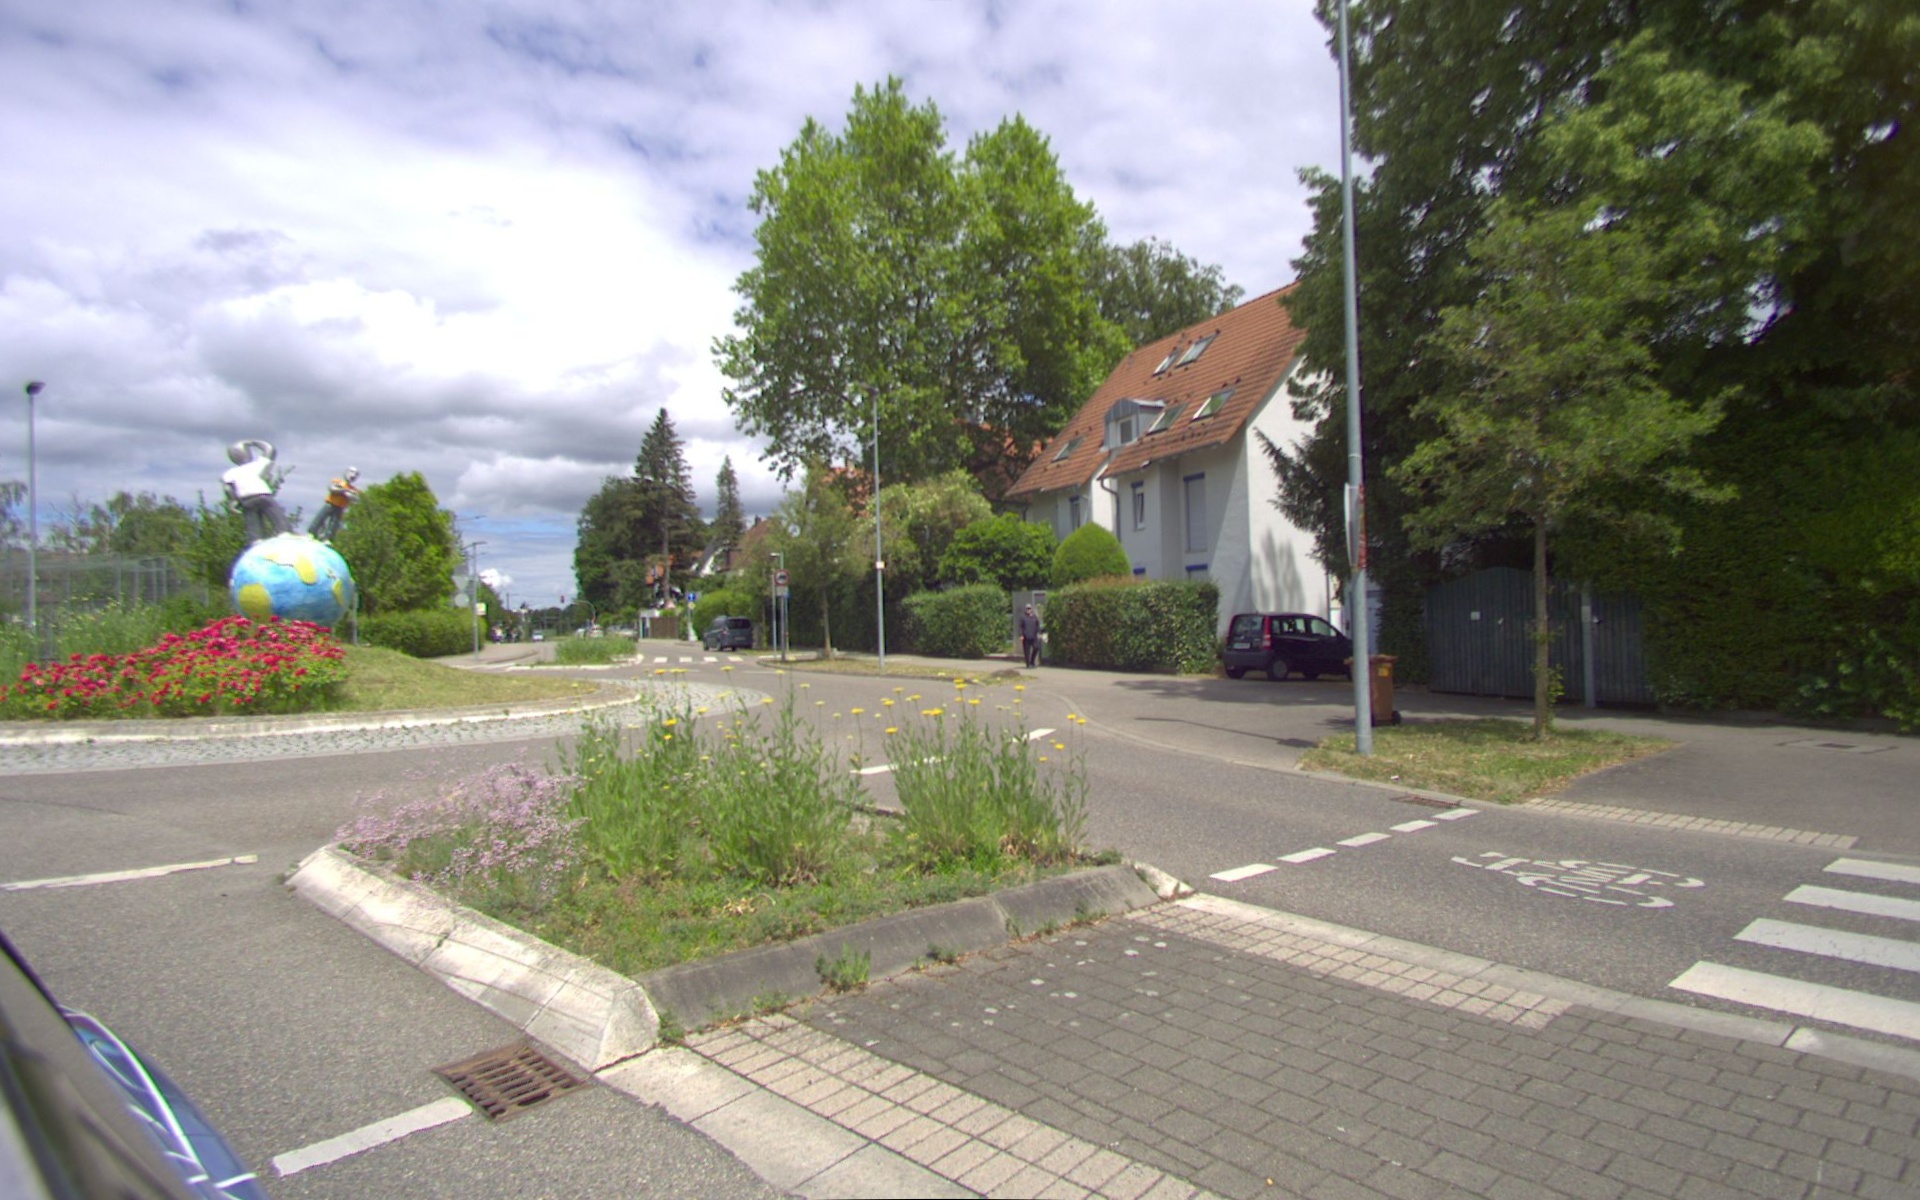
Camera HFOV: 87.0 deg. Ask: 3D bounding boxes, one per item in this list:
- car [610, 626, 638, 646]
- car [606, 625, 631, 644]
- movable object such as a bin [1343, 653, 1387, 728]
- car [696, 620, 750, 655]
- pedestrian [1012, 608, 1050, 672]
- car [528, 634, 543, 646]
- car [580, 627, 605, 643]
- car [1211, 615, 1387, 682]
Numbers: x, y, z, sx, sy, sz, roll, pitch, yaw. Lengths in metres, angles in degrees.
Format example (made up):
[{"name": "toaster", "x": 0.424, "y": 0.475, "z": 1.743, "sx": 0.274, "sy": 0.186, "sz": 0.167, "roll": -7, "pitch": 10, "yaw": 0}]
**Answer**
[{"name": "car", "x": -28.831, "y": 3.054, "z": 86.748, "sx": 1.831, "sy": 1.589, "sz": 4.013, "roll": -2, "pitch": 0, "yaw": -24}, {"name": "car", "x": -31.029, "y": 3.157, "z": 91.953, "sx": 1.757, "sy": 1.589, "sz": 4.013, "roll": -2, "pitch": 0, "yaw": -24}, {"name": "movable object such as a bin", "x": 5.297, "y": 1.172, "z": 13.234, "sx": 0.411, "sy": 0.942, "sz": 0.436, "roll": -2, "pitch": -2, "yaw": 37}, {"name": "car", "x": -12.035, "y": 1.849, "z": 51.325, "sx": 1.653, "sy": 1.674, "sz": 4.012, "roll": 0, "pitch": -1, "yaw": -29}, {"name": "pedestrian", "x": 1.933, "y": 1.077, "z": 27.646, "sx": 0.733, "sy": 1.704, "sz": 0.697, "roll": -2, "pitch": 0, "yaw": -23}, {"name": "car", "x": -67.054, "y": 6.312, "z": 159.894, "sx": 1.965, "sy": 1.719, "sz": 4.013, "roll": 0, "pitch": -2, "yaw": -25}, {"name": "car", "x": -41.822, "y": 3.940, "z": 115.124, "sx": 1.966, "sy": 1.719, "sz": 4.012, "roll": 0, "pitch": -2, "yaw": -29}, {"name": "car", "x": 7.583, "y": 1.086, "z": 22.662, "sx": 3.516, "sy": 1.408, "sz": 1.671, "roll": 2, "pitch": -2, "yaw": -24}]
